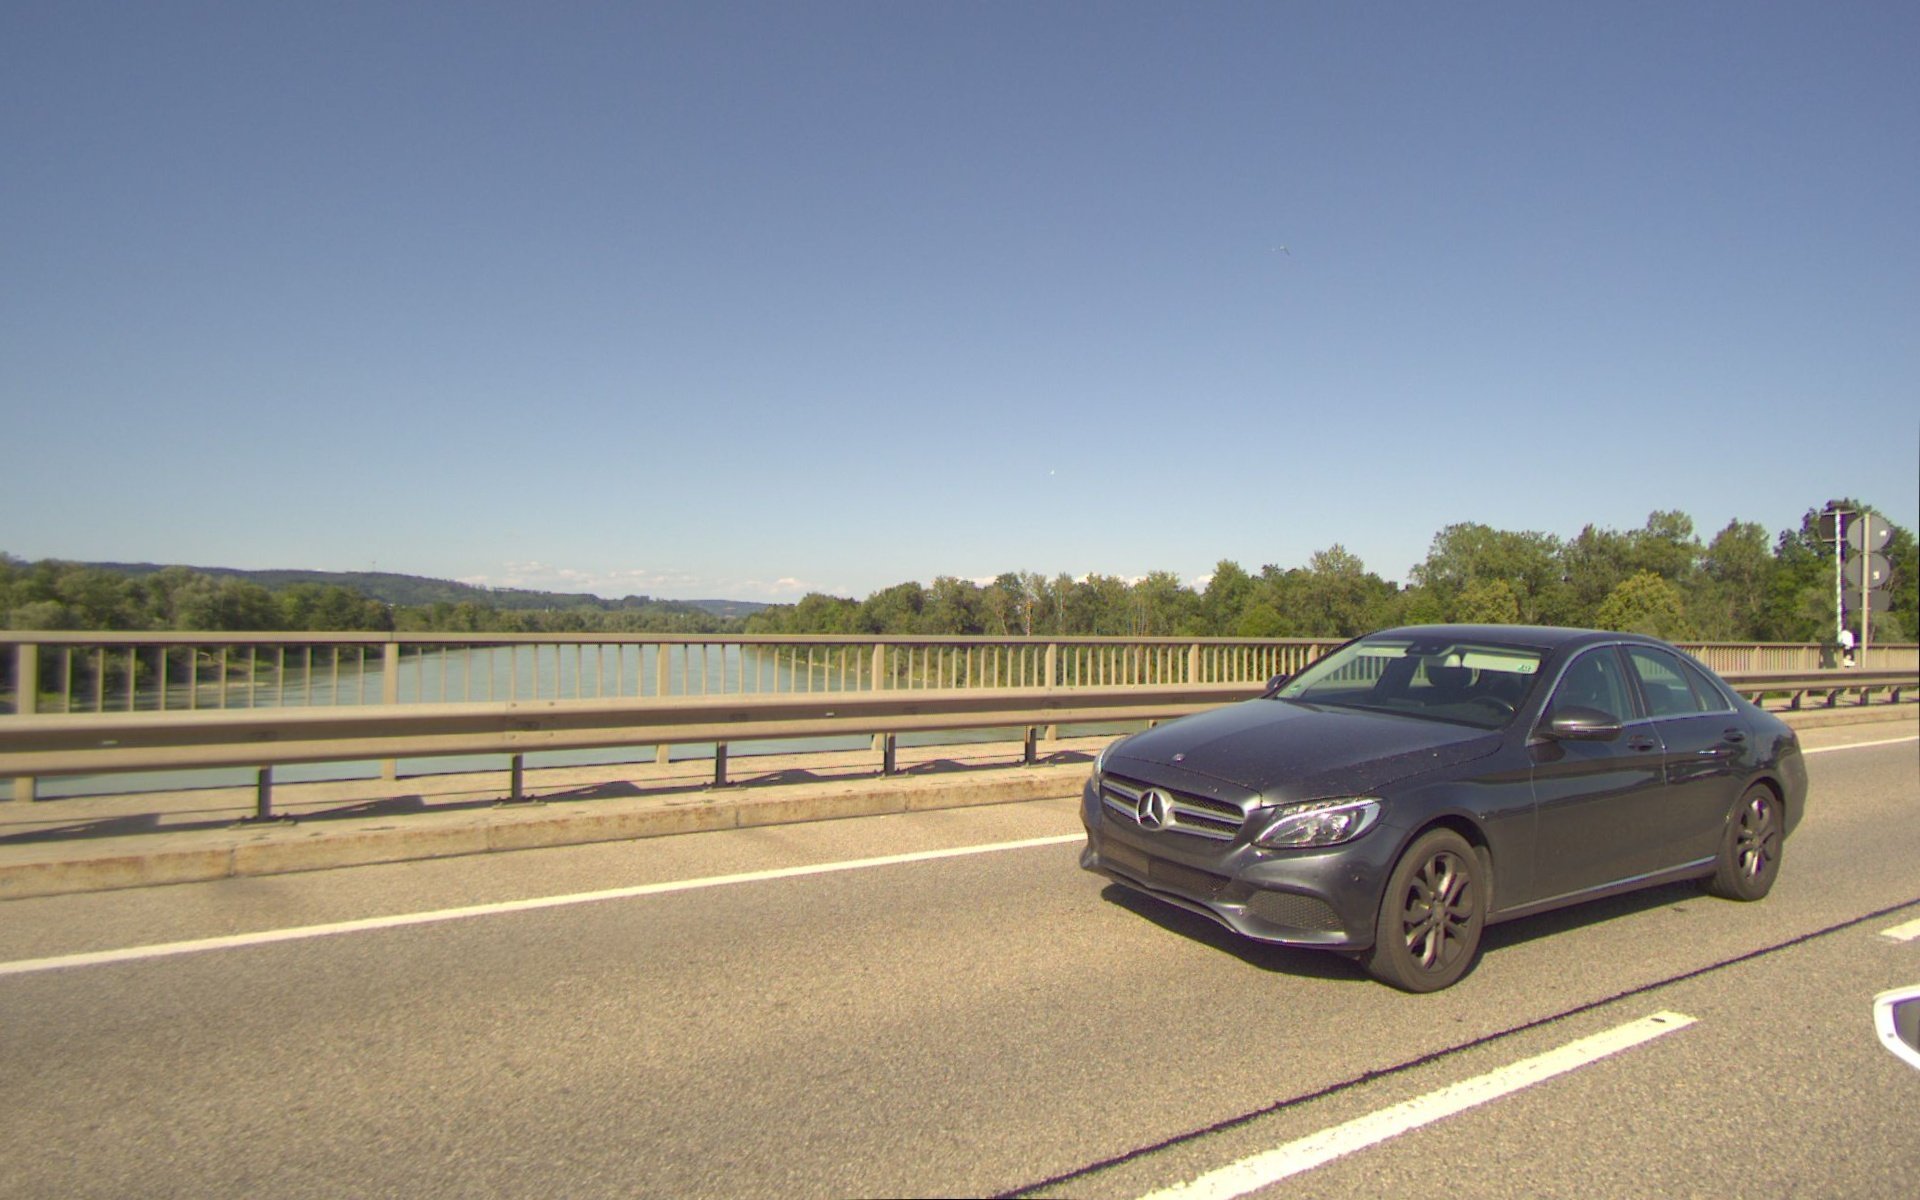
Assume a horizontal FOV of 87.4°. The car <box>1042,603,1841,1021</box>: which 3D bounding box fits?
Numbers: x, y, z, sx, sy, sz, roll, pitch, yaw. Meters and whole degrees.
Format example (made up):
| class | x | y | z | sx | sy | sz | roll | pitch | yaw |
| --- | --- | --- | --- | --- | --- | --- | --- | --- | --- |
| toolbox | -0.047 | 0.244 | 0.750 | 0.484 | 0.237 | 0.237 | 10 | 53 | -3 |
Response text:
| class | x | y | z | sx | sy | sz | roll | pitch | yaw |
| --- | --- | --- | --- | --- | --- | --- | --- | --- | --- |
| car | 2.754 | 0.804 | 5.440 | 4.405 | 1.466 | 1.757 | 2 | 0 | -31 |
